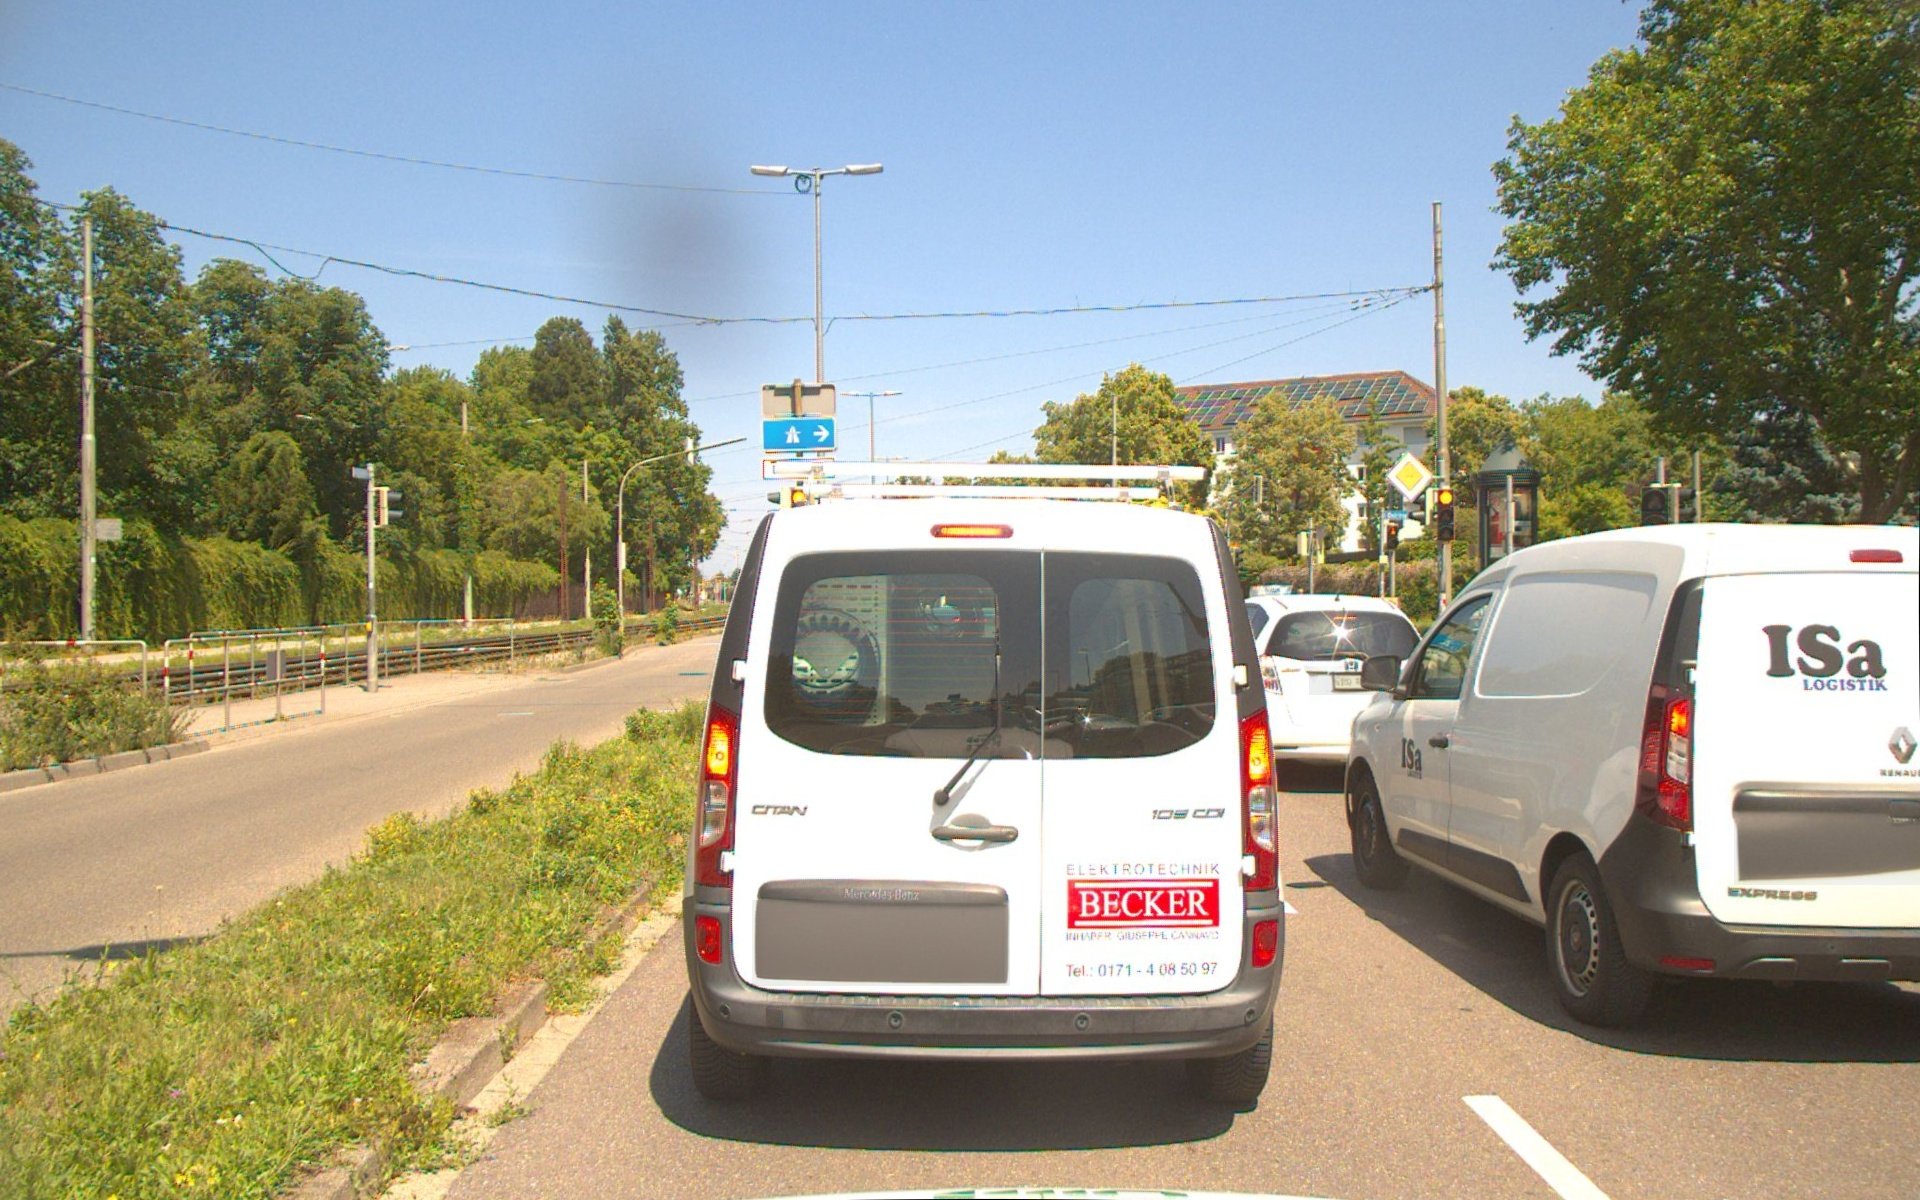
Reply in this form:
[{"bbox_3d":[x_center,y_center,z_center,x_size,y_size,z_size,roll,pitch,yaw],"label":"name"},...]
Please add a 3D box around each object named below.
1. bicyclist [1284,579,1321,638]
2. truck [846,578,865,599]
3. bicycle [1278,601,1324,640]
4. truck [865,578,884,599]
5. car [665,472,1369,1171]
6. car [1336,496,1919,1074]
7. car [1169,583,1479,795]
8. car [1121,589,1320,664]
[{"bbox_3d":[10.713,0.263,51.781,0.954,1.819,0.725,0,0,-6],"label":"bicyclist"},{"bbox_3d":[-13.922,-1.511,220.581,2.095,2.633,5.888,1,0,-1],"label":"truck"},{"bbox_3d":[10.675,0.633,51.800,0.875,1.179,1.954,0,0,-6],"label":"bicycle"},{"bbox_3d":[-10.934,-1.494,212.172,2.095,2.633,5.888,1,0,-1],"label":"truck"},{"bbox_3d":[0.121,0.572,6.430,1.784,1.770,4.395,1,0,-1],"label":"car"},{"bbox_3d":[3.032,0.594,7.288,1.693,1.819,4.063,1,0,-2],"label":"car"},{"bbox_3d":[3.044,0.662,14.679,1.798,1.596,3.999,1,1,-1],"label":"car"},{"bbox_3d":[5.639,0.551,35.909,3.913,1.546,1.749,0,-1,31],"label":"car"}]
